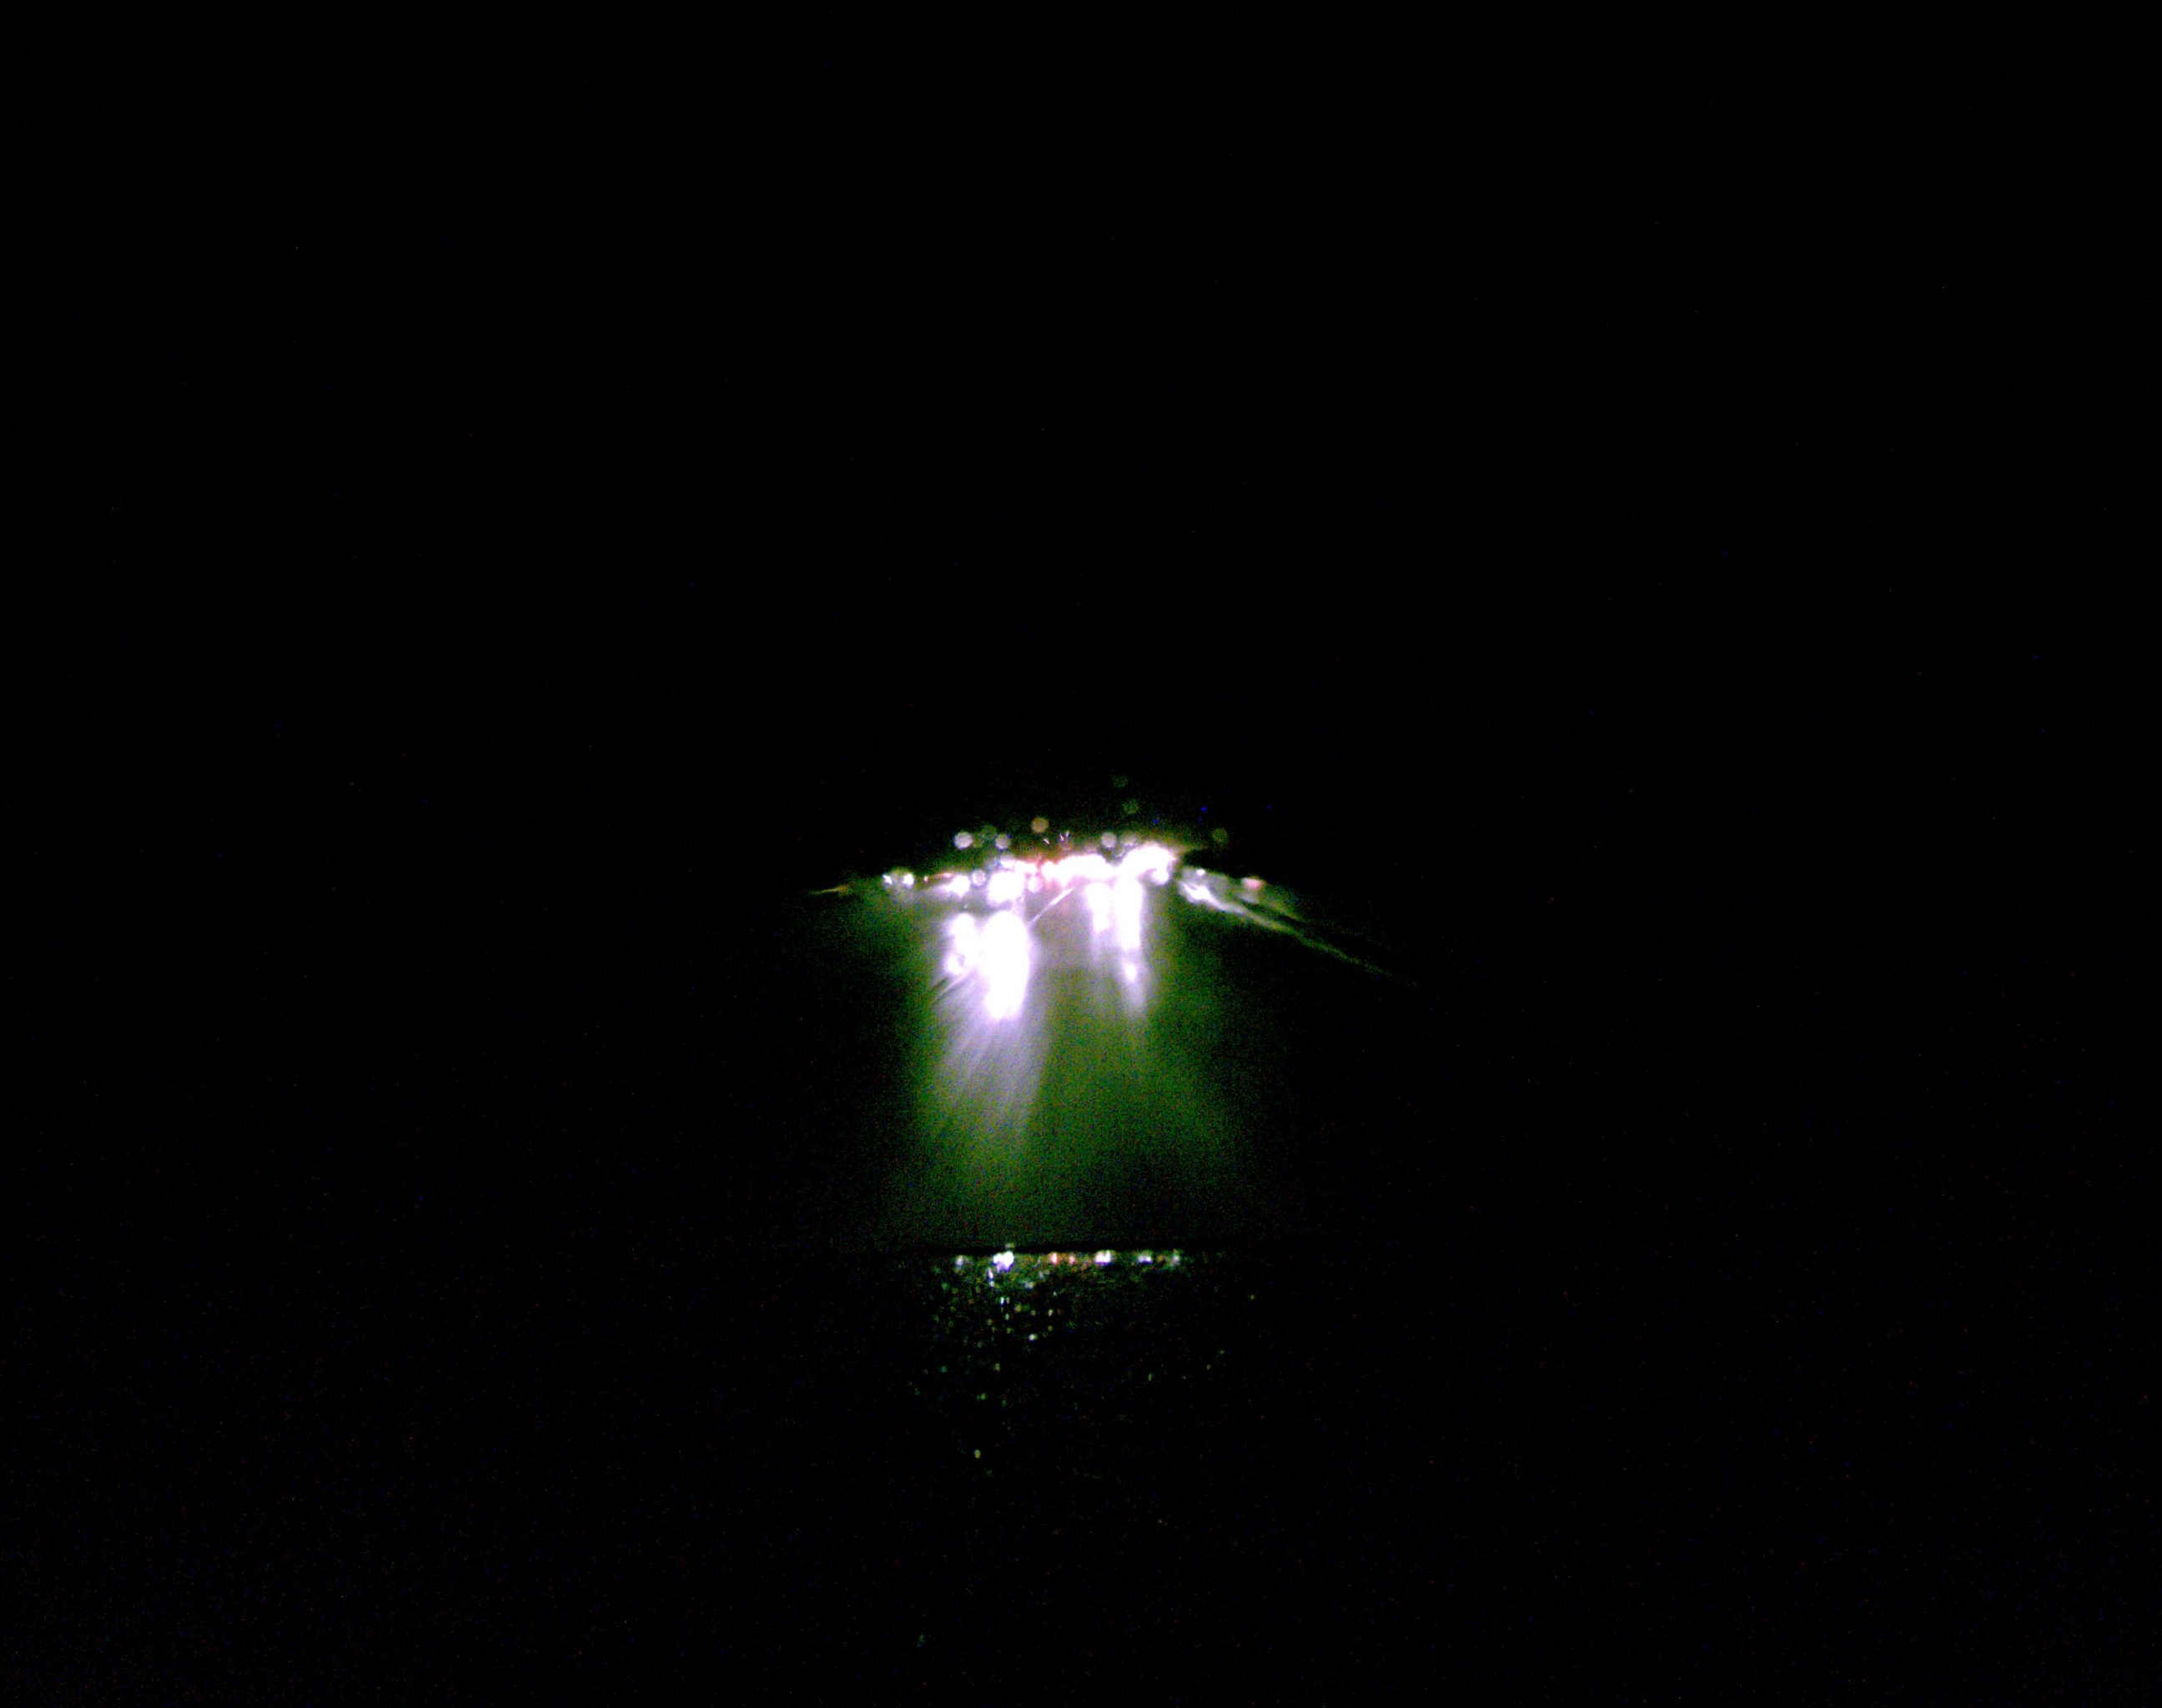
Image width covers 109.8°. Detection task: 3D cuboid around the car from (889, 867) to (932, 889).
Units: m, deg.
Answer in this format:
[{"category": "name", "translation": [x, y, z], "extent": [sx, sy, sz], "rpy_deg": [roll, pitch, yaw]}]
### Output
[{"category": "car", "translation": [-14.728, 2.048, 65.750], "extent": [1.997, 1.541, 4.003], "rpy_deg": [-6, 0, 12]}]

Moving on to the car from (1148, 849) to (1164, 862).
[{"category": "car", "translation": [12.331, 0.266, 125.177], "extent": [1.999, 1.802, 4.000], "rpy_deg": [-6, 0, -2]}]

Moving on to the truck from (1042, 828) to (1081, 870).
[{"category": "truck", "translation": [-2.027, -0.532, 80.578], "extent": [2.781, 3.945, 5.202], "rpy_deg": [-6, 0, 10]}]

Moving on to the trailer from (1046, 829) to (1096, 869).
[{"category": "trailer", "translation": [-0.927, -0.596, 86.894], "extent": [2.745, 3.954, 13.829], "rpy_deg": [-6, 0, 10]}]

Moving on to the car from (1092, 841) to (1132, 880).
[{"category": "car", "translation": [1.831, 0.355, 43.728], "extent": [1.998, 2.001, 4.002], "rpy_deg": [-4, -1, 4]}]

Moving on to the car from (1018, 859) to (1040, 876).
[{"category": "car", "translation": [-7.130, 1.876, 105.552], "extent": [1.997, 2.001, 4.003], "rpy_deg": [-6, 0, 9]}]

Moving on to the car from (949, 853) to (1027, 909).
[{"category": "car", "translation": [-3.064, 0.861, 25.690], "extent": [1.847, 1.614, 3.680], "rpy_deg": [-5, -1, 3]}]
